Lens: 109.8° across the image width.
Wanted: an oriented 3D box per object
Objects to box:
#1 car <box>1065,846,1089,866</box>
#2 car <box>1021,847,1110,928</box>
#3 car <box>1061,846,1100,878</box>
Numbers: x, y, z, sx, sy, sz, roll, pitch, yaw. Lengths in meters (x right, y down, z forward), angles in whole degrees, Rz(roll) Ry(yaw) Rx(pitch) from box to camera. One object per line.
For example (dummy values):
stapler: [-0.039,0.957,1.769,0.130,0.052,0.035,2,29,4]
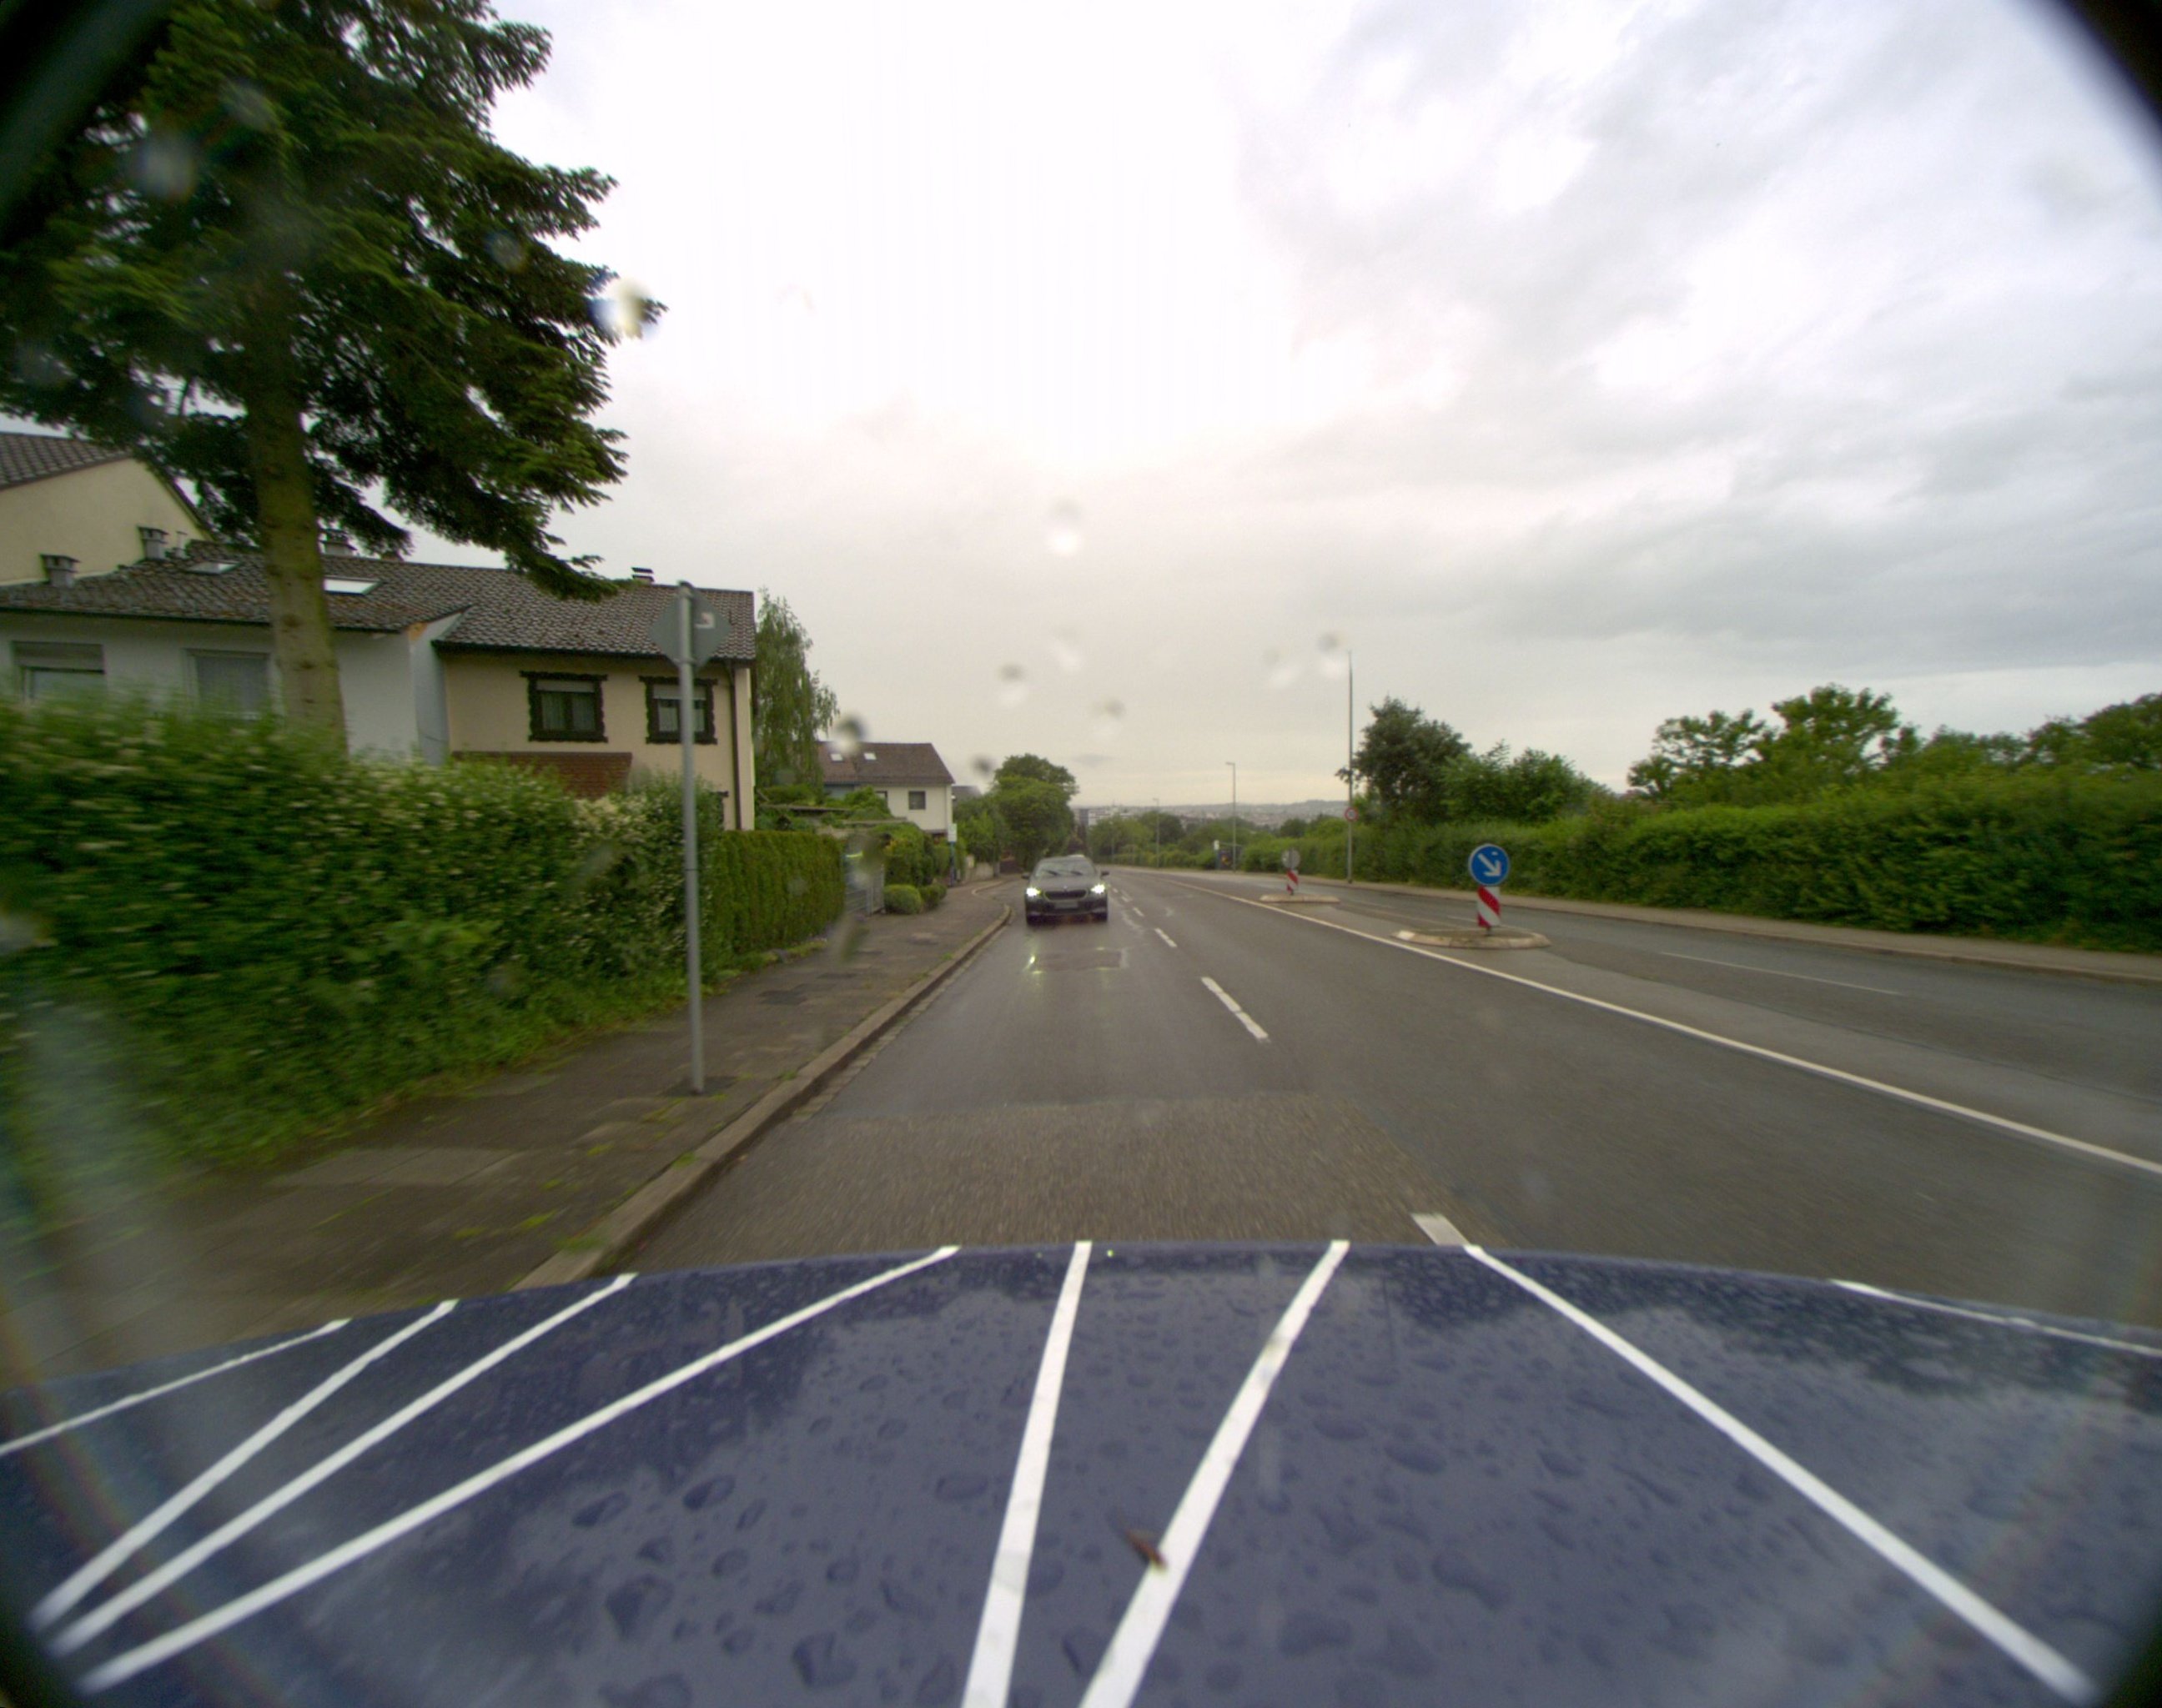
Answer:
car: [-0.407,0.164,67.954,1.999,1.674,4.172,-1,1,-2]
car: [-0.256,0.720,18.726,1.828,1.668,4.296,-3,1,3]
car: [-0.099,0.427,42.766,1.999,1.674,4.172,-1,1,-2]
